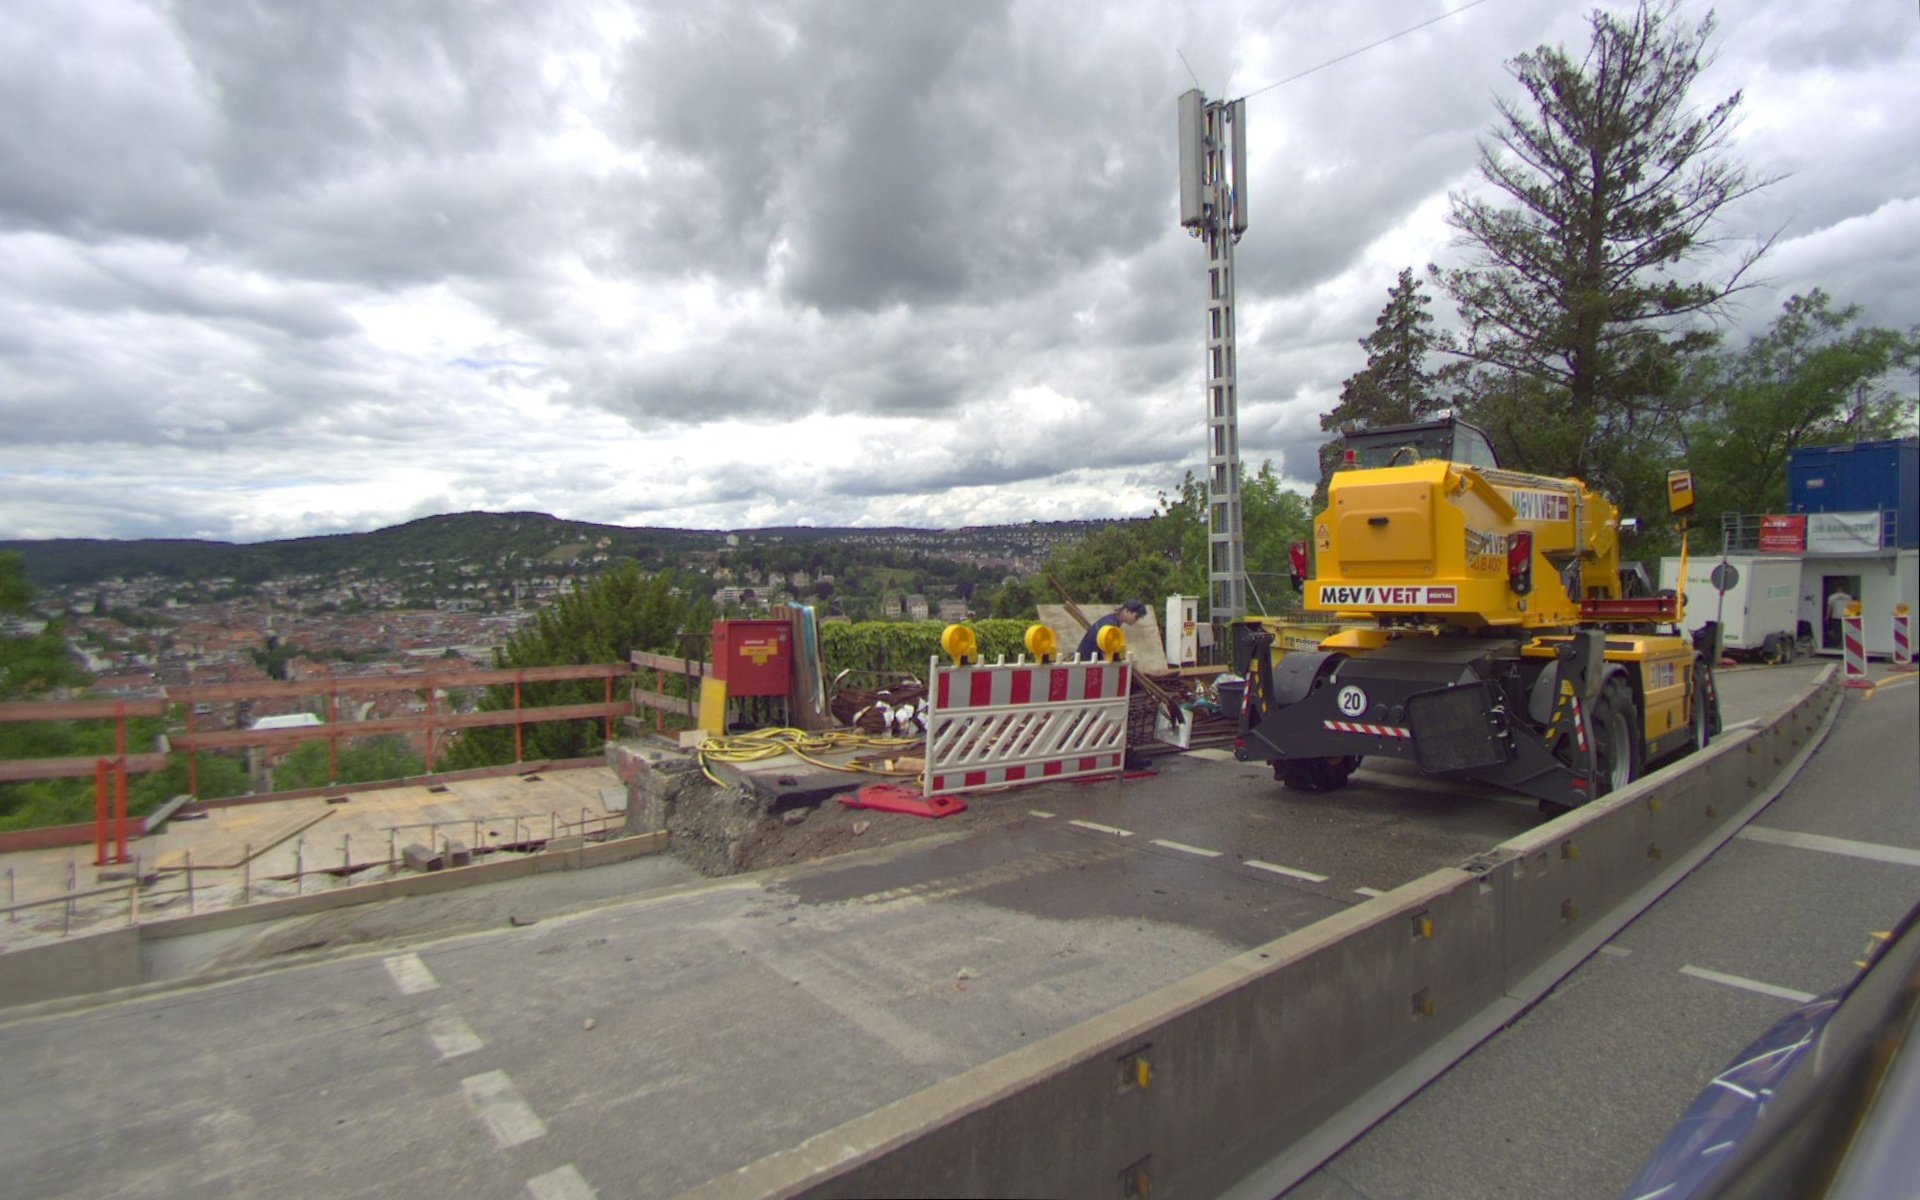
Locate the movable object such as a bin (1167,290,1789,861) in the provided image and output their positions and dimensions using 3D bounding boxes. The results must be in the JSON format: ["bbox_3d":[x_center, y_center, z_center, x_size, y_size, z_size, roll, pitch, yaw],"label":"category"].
[{"bbox_3d":[5.255,-0.135,9.238,7.695,3.110,2.813,0,0,-45],"label":"movable object such as a bin"}]

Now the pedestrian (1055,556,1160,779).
[{"bbox_3d":[1.261,0.543,8.644,0.687,1.817,0.532,1,0,38],"label":"pedestrian"}]

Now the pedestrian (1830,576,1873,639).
[{"bbox_3d":[23.982,0.205,27.229,0.641,1.682,0.647,0,-1,16],"label":"pedestrian"}]

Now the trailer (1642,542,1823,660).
[{"bbox_3d":[18.845,-0.024,24.605,5.023,2.581,2.114,0,3,-37],"label":"trailer"}]
